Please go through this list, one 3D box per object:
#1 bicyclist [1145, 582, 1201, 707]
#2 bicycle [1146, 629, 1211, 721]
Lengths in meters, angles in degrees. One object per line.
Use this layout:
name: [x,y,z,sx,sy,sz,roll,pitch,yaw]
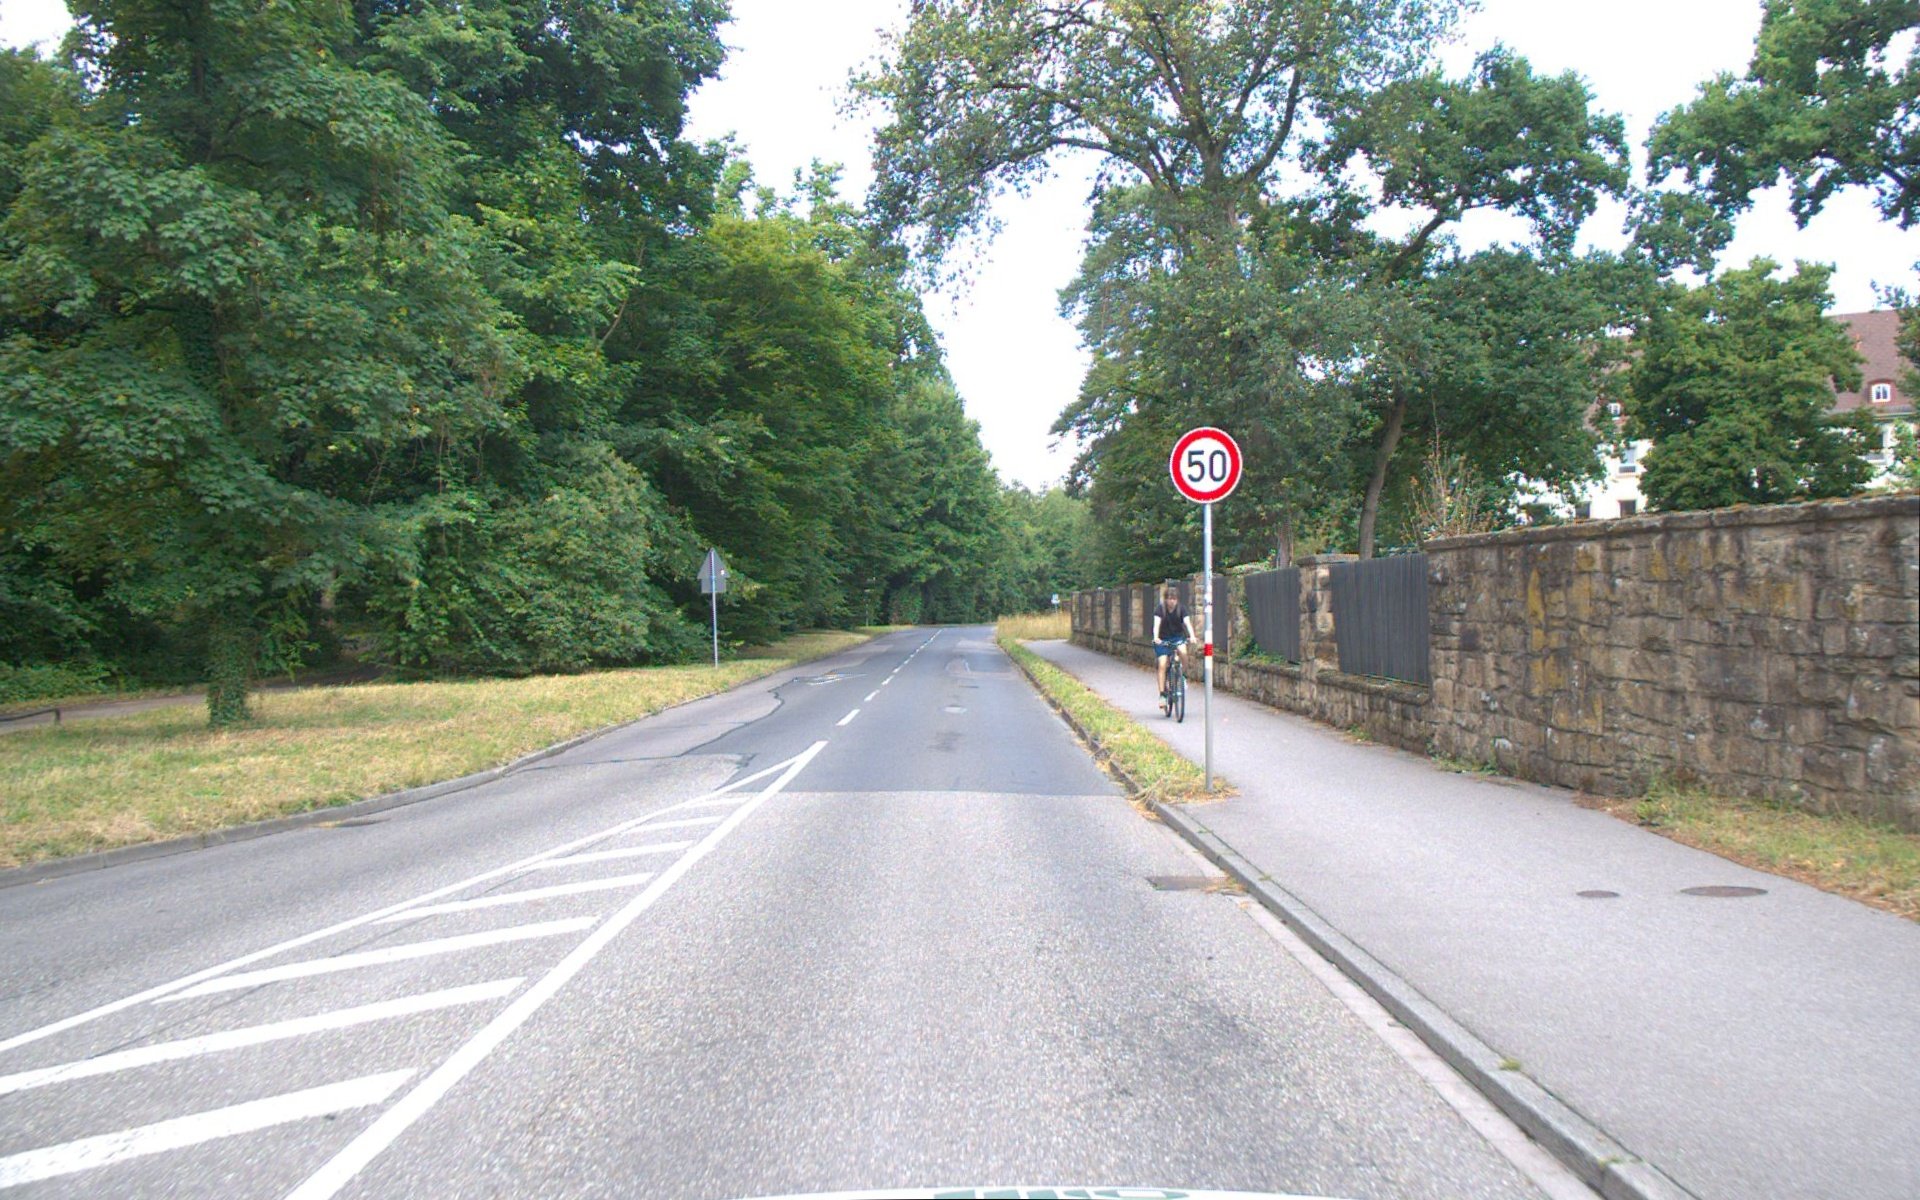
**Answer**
bicyclist: [2.861,0.576,22.316,0.558,1.616,1.205,-2,0,0]
bicycle: [2.881,0.967,21.997,0.547,1.091,2.157,-2,1,0]
